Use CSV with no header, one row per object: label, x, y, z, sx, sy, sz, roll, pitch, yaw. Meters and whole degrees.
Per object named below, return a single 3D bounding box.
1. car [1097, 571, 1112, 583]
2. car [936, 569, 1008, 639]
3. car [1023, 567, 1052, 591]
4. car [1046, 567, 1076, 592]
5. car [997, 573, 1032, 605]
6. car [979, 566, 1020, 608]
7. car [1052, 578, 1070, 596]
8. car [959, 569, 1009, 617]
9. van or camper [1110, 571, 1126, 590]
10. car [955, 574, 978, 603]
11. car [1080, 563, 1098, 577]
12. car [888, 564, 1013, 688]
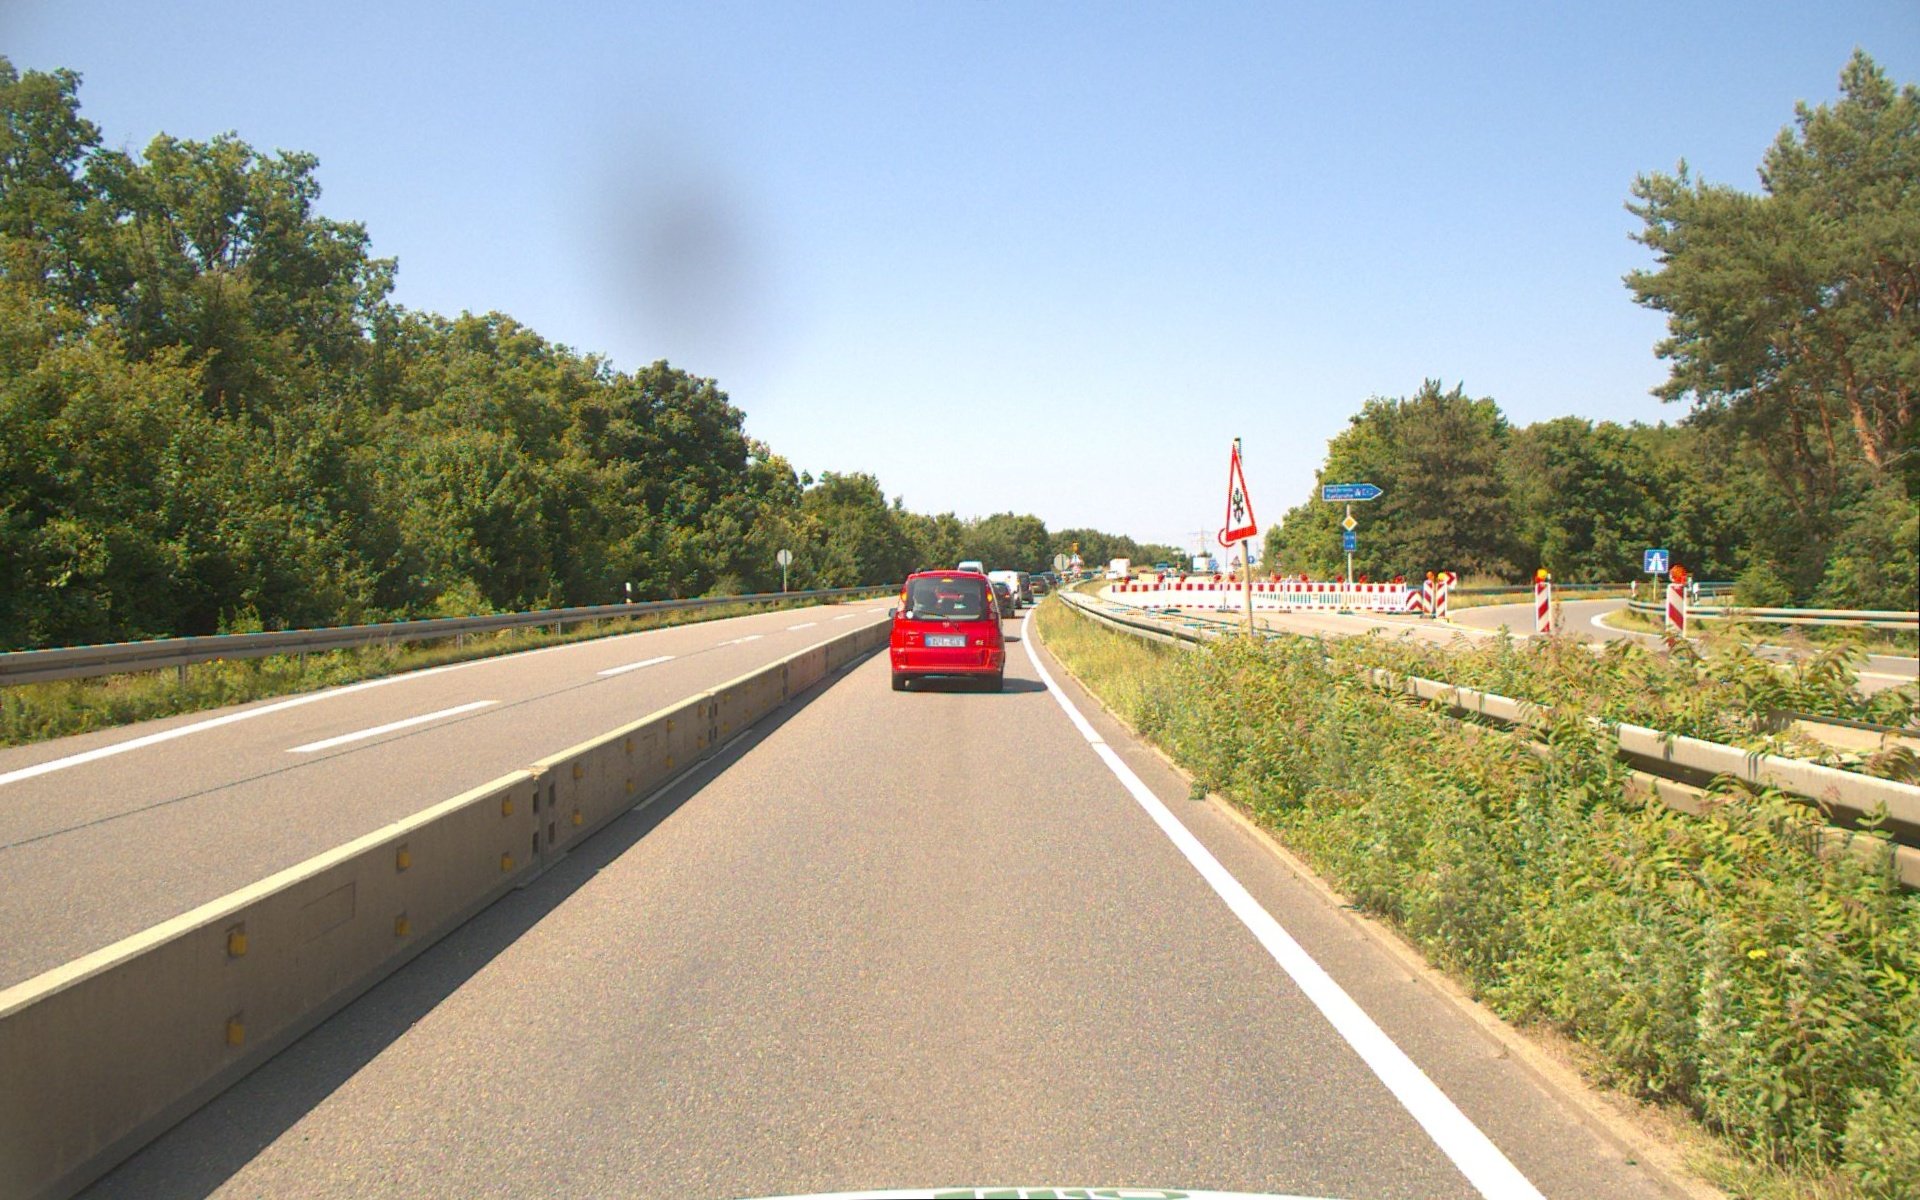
car,20.058,-3.197,229.880,1.951,1.512,4.003,0,1,6
car,0.287,0.077,43.376,1.793,1.752,4.000,0,0,0
car,5.797,-1.552,123.260,1.951,1.814,4.003,0,0,7
car,7.570,-1.531,124.101,1.953,1.814,4.000,0,0,0
car,3.118,-0.637,95.536,1.952,1.780,4.001,0,0,1
car,1.953,-0.658,83.060,1.953,2.038,4.000,0,0,0
car,9.794,-1.245,160.087,1.470,1.767,3.172,0,1,7
car,0.993,-0.285,66.630,1.952,1.870,4.001,0,0,1
van or camper,23.029,-2.795,240.752,2.279,2.754,4.596,0,1,5
car,0.631,-1.068,149.093,2.019,2.528,5.561,1,1,1
car,15.332,-3.512,196.552,1.951,1.579,4.003,-2,0,7
car,-0.160,0.336,24.682,1.716,1.702,3.999,0,0,-1
